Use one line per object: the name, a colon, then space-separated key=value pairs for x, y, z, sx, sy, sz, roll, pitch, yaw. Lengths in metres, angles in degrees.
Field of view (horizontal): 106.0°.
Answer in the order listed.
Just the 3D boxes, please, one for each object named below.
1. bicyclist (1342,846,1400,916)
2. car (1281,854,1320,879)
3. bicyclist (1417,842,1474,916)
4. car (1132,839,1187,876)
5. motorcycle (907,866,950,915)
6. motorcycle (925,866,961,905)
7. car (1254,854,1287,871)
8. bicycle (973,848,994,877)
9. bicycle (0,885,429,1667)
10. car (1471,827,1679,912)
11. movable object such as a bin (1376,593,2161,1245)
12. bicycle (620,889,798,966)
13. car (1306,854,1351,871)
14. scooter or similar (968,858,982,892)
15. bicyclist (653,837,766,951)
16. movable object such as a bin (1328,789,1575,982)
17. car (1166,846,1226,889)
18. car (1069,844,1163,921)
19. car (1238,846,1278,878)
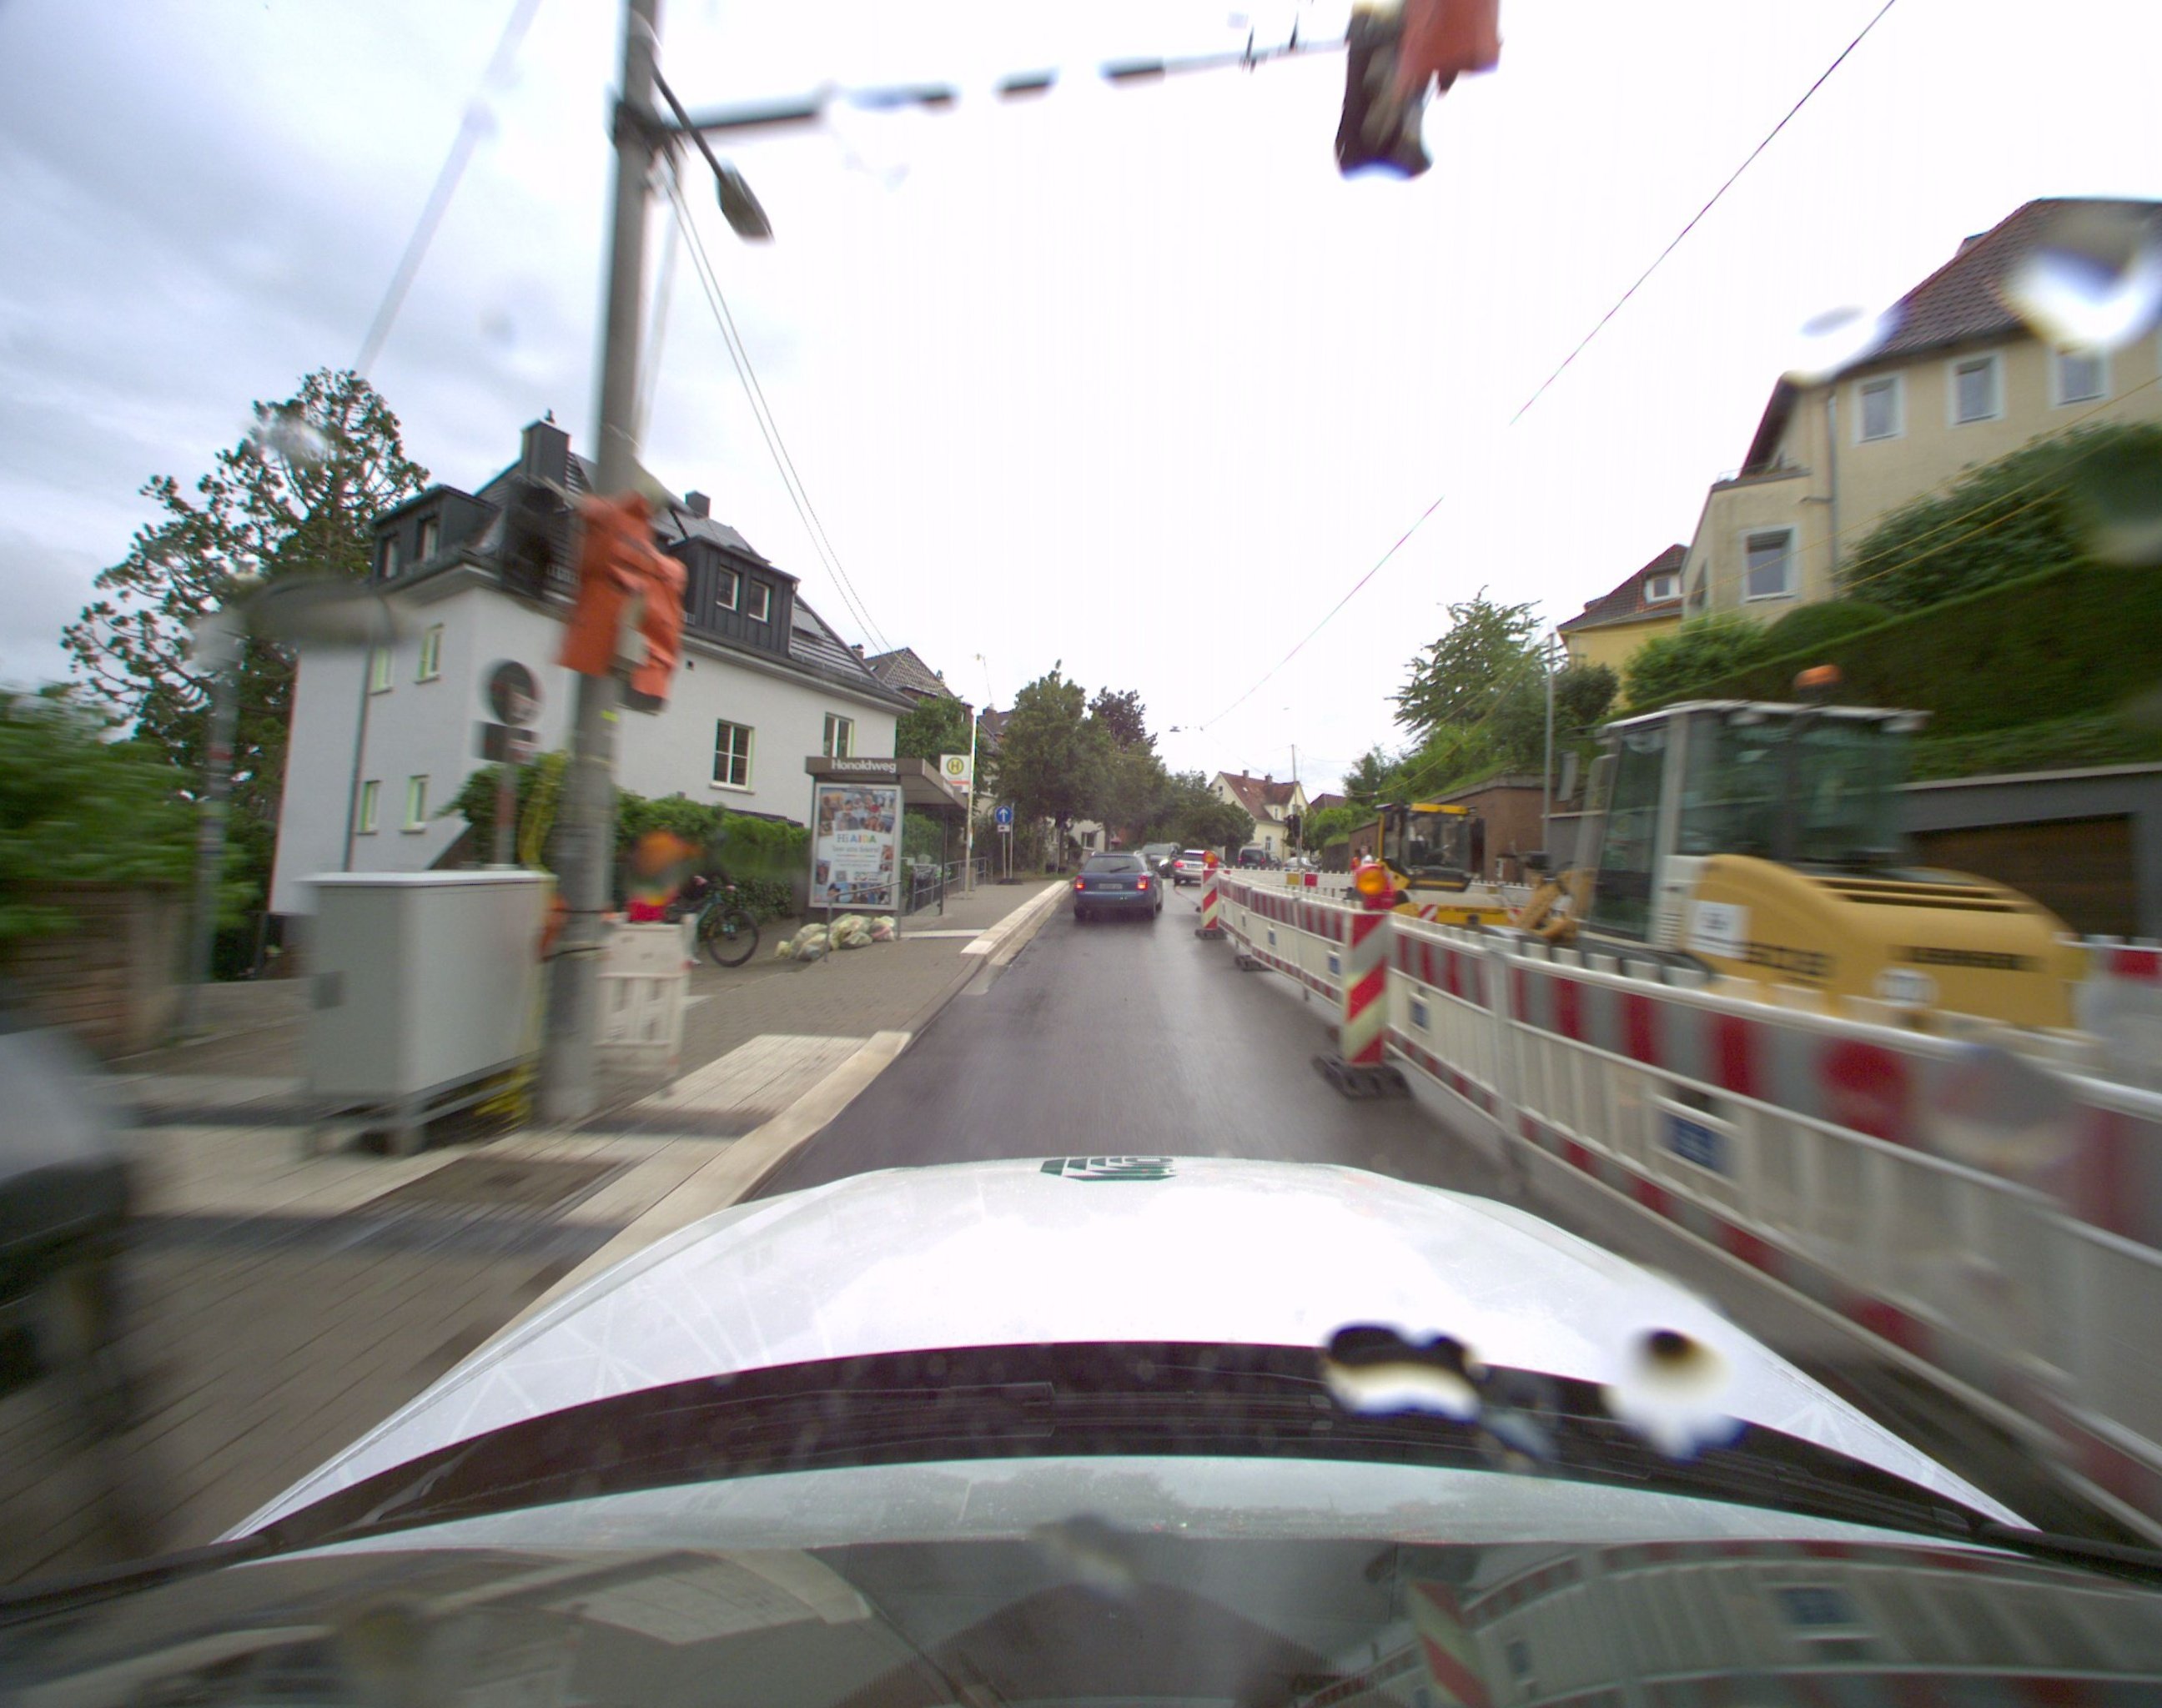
bicyclist: x=7.478 y=0.687 z=21.051 sx=1.072 sy=1.728 sz=0.931 roll=2 pitch=0 yaw=-7
car: x=16.276 y=0.897 z=60.255 sx=1.717 sy=1.768 sz=4.261 roll=2 pitch=1 yaw=30
bicyclist: x=8.846 y=0.591 z=19.739 sx=1.063 sy=1.728 sz=0.939 roll=1 pitch=-1 yaw=36
car: x=4.305 y=0.199 z=43.857 sx=1.881 sy=1.889 sz=5.176 roll=0 pitch=-1 yaw=18
motorcycle: x=-3.596 y=0.841 z=19.363 sx=0.665 sy=1.036 sz=2.151 roll=0 pitch=1 yaw=-2
motorcycle: x=-3.665 y=0.810 z=21.800 sx=0.665 sy=0.933 sz=2.009 roll=0 pitch=1 yaw=-2
car: x=16.725 y=0.781 z=71.738 sx=1.654 sy=1.466 sz=3.919 roll=-1 pitch=-1 yaw=33
bicycle: x=-4.517 y=0.372 z=37.819 sx=0.488 sy=1.271 sz=2.276 roll=3 pitch=1 yaw=5
bicycle: x=-2.904 y=0.772 z=1.768 sx=2.225 sy=1.362 sz=0.808 roll=0 pitch=-1 yaw=-5
car: x=12.858 y=0.441 z=21.383 sx=4.361 sy=2.014 sz=1.813 roll=2 pitch=-4 yaw=0
movable object such as a bin: x=4.319 y=0.357 z=6.425 sx=2.078 sy=2.838 sz=5.678 roll=1 pitch=-2 yaw=2
bicycle: x=-4.932 y=0.949 z=10.892 sx=1.860 sy=0.932 sz=1.100 roll=-1 pitch=-1 yaw=9
car: x=24.235 y=0.855 z=79.742 sx=4.929 sy=1.545 sz=1.851 roll=1 pitch=-1 yaw=-40
scooter or similar: x=-3.512 y=0.677 z=27.071 sx=0.323 sy=1.080 sz=1.095 roll=-1 pitch=0 yaw=-1
bicyclist: x=-4.940 y=0.508 z=10.900 sx=0.900 sy=1.439 sz=1.100 roll=-1 pitch=-1 yaw=9
movable object such as a bin: x=6.364 y=0.421 z=14.956 sx=2.078 sy=2.838 sz=5.680 roll=1 pitch=1 yaw=2
car: x=4.944 y=0.534 z=34.449 sx=1.961 sy=1.635 sz=4.253 roll=-1 pitch=1 yaw=15
car: x=0.907 y=0.560 z=18.450 sx=1.724 sy=1.466 sz=4.009 roll=-1 pitch=1 yaw=8
car: x=10.909 y=0.447 z=50.103 sx=1.718 sy=1.768 sz=4.258 roll=-1 pitch=1 yaw=21
